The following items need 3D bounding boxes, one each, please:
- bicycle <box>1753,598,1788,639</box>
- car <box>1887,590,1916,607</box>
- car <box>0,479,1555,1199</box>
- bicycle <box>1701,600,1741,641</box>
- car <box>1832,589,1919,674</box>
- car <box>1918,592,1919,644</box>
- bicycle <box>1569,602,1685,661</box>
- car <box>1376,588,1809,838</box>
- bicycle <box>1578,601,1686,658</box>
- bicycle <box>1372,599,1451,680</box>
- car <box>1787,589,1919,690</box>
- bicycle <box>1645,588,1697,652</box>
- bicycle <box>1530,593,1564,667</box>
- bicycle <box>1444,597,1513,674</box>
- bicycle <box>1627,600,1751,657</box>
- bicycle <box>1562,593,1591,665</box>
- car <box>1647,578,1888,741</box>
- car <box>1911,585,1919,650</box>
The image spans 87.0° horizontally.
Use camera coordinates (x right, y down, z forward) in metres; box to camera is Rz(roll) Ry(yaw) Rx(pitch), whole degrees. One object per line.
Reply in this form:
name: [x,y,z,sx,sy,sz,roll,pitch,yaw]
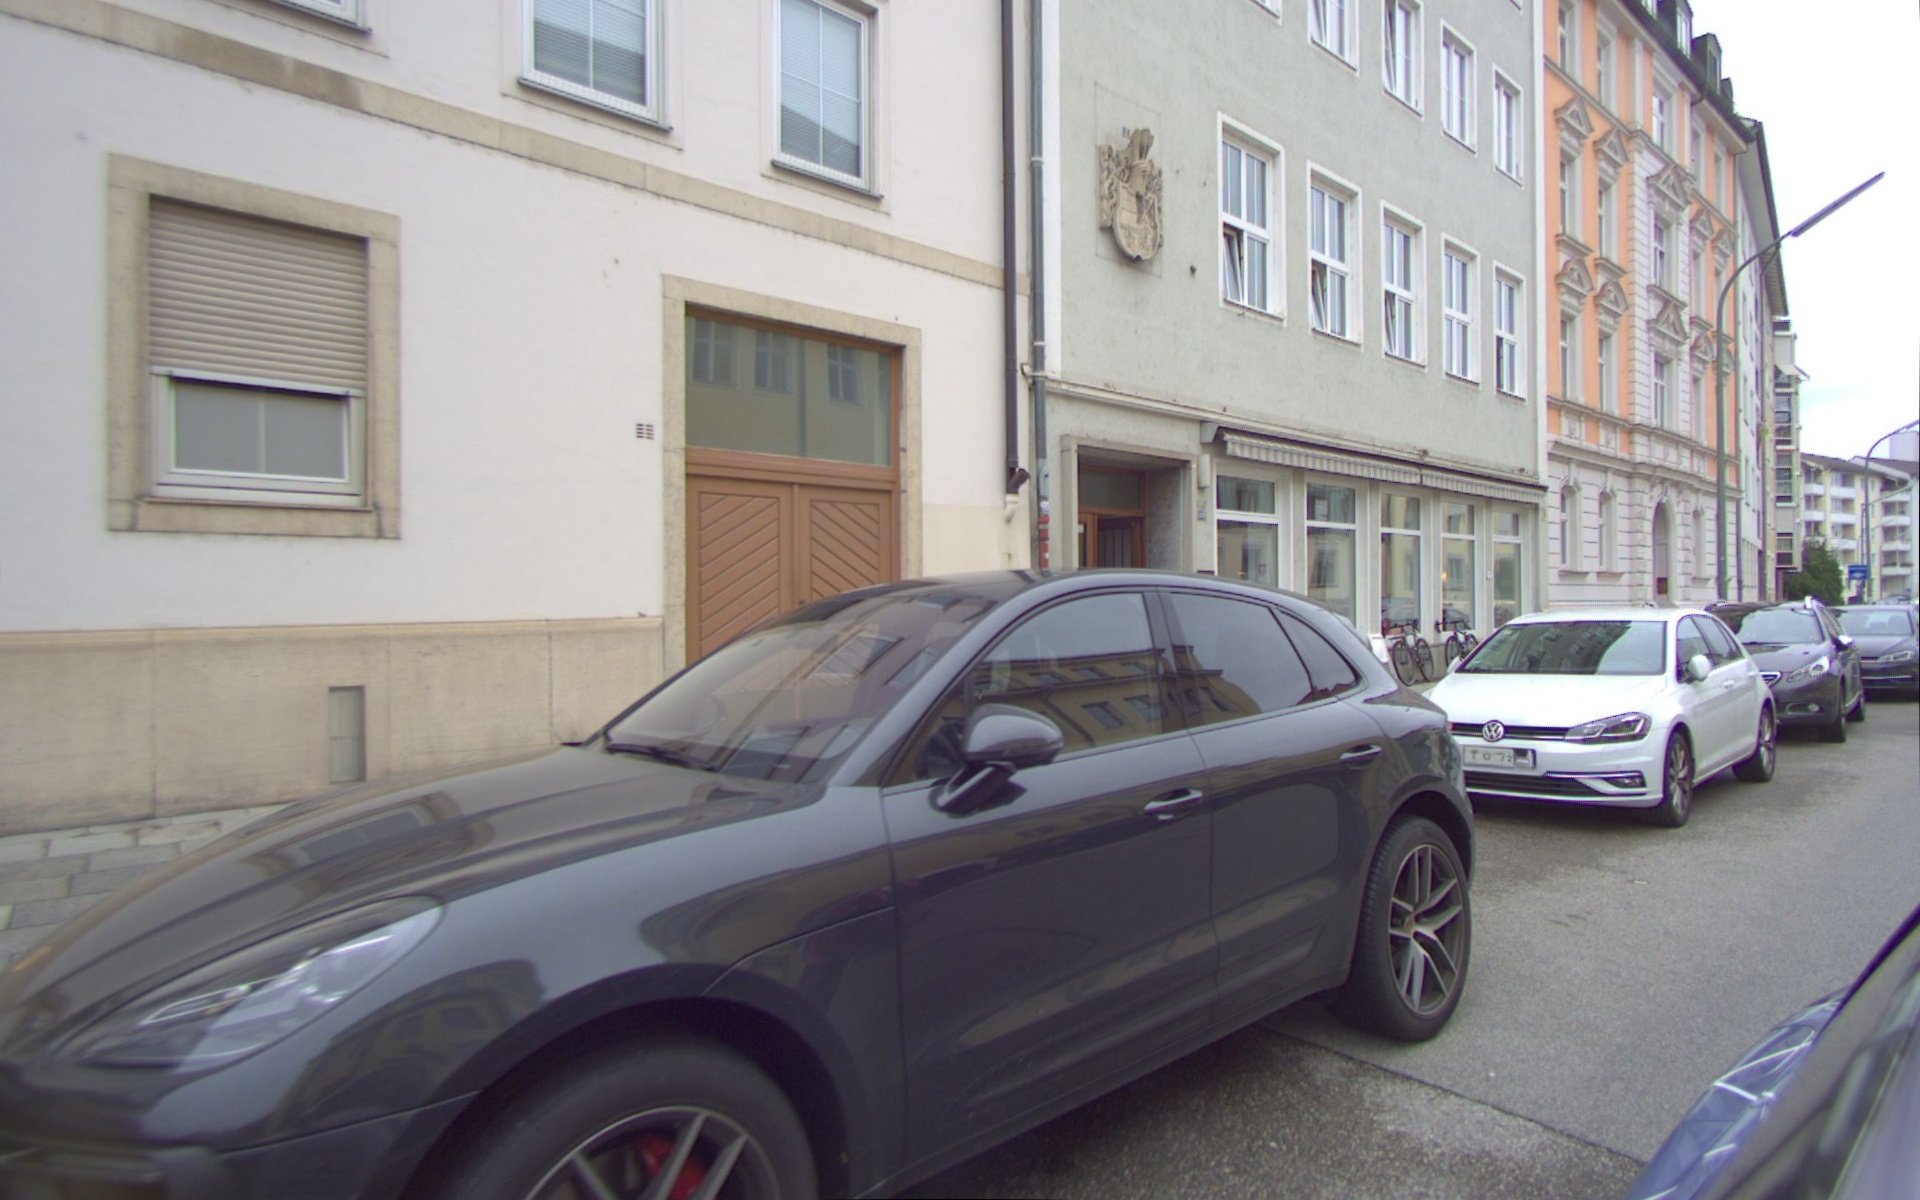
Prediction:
bicycle: [22.903,0.500,28.582,0.722,1.126,1.965,0,0,41]
car: [84.441,-0.157,90.803,1.749,1.511,3.940,-1,0,42]
car: [-0.048,0.624,3.192,4.625,1.541,1.843,-1,-1,-40]
bicycle: [20.199,0.539,26.843,1.788,1.037,0.596,0,1,-45]
car: [18.392,0.567,19.754,4.079,1.519,1.688,0,-2,-44]
car: [30.137,0.496,30.282,4.469,1.513,1.745,0,0,-41]
bicycle: [12.903,0.599,19.614,1.816,1.081,0.515,0,0,8]
car: [5.225,0.669,8.086,4.451,1.447,1.675,-1,-1,-41]
bicycle: [13.301,0.577,20.052,1.778,1.103,0.623,0,0,-6]
bicycle: [7.020,0.581,15.694,1.916,1.172,0.385,0,0,-42]
car: [14.878,0.542,16.240,4.286,1.420,1.691,-1,0,-40]
bicycle: [16.154,0.432,22.976,2.058,1.402,0.596,0,1,-45]
bicycle: [10.488,0.516,18.064,0.247,1.271,1.214,0,0,44]
bicycle: [8.629,0.562,16.825,1.784,1.191,0.396,-1,0,-42]
bicycle: [15.157,0.581,21.064,2.055,1.153,0.583,1,0,6]
bicycle: [11.281,0.518,18.510,0.247,1.271,0.902,0,0,44]
car: [9.781,0.599,12.126,4.290,1.613,1.707,0,-1,-44]
car: [26.374,0.434,26.685,1.679,1.695,3.748,-2,-1,41]
